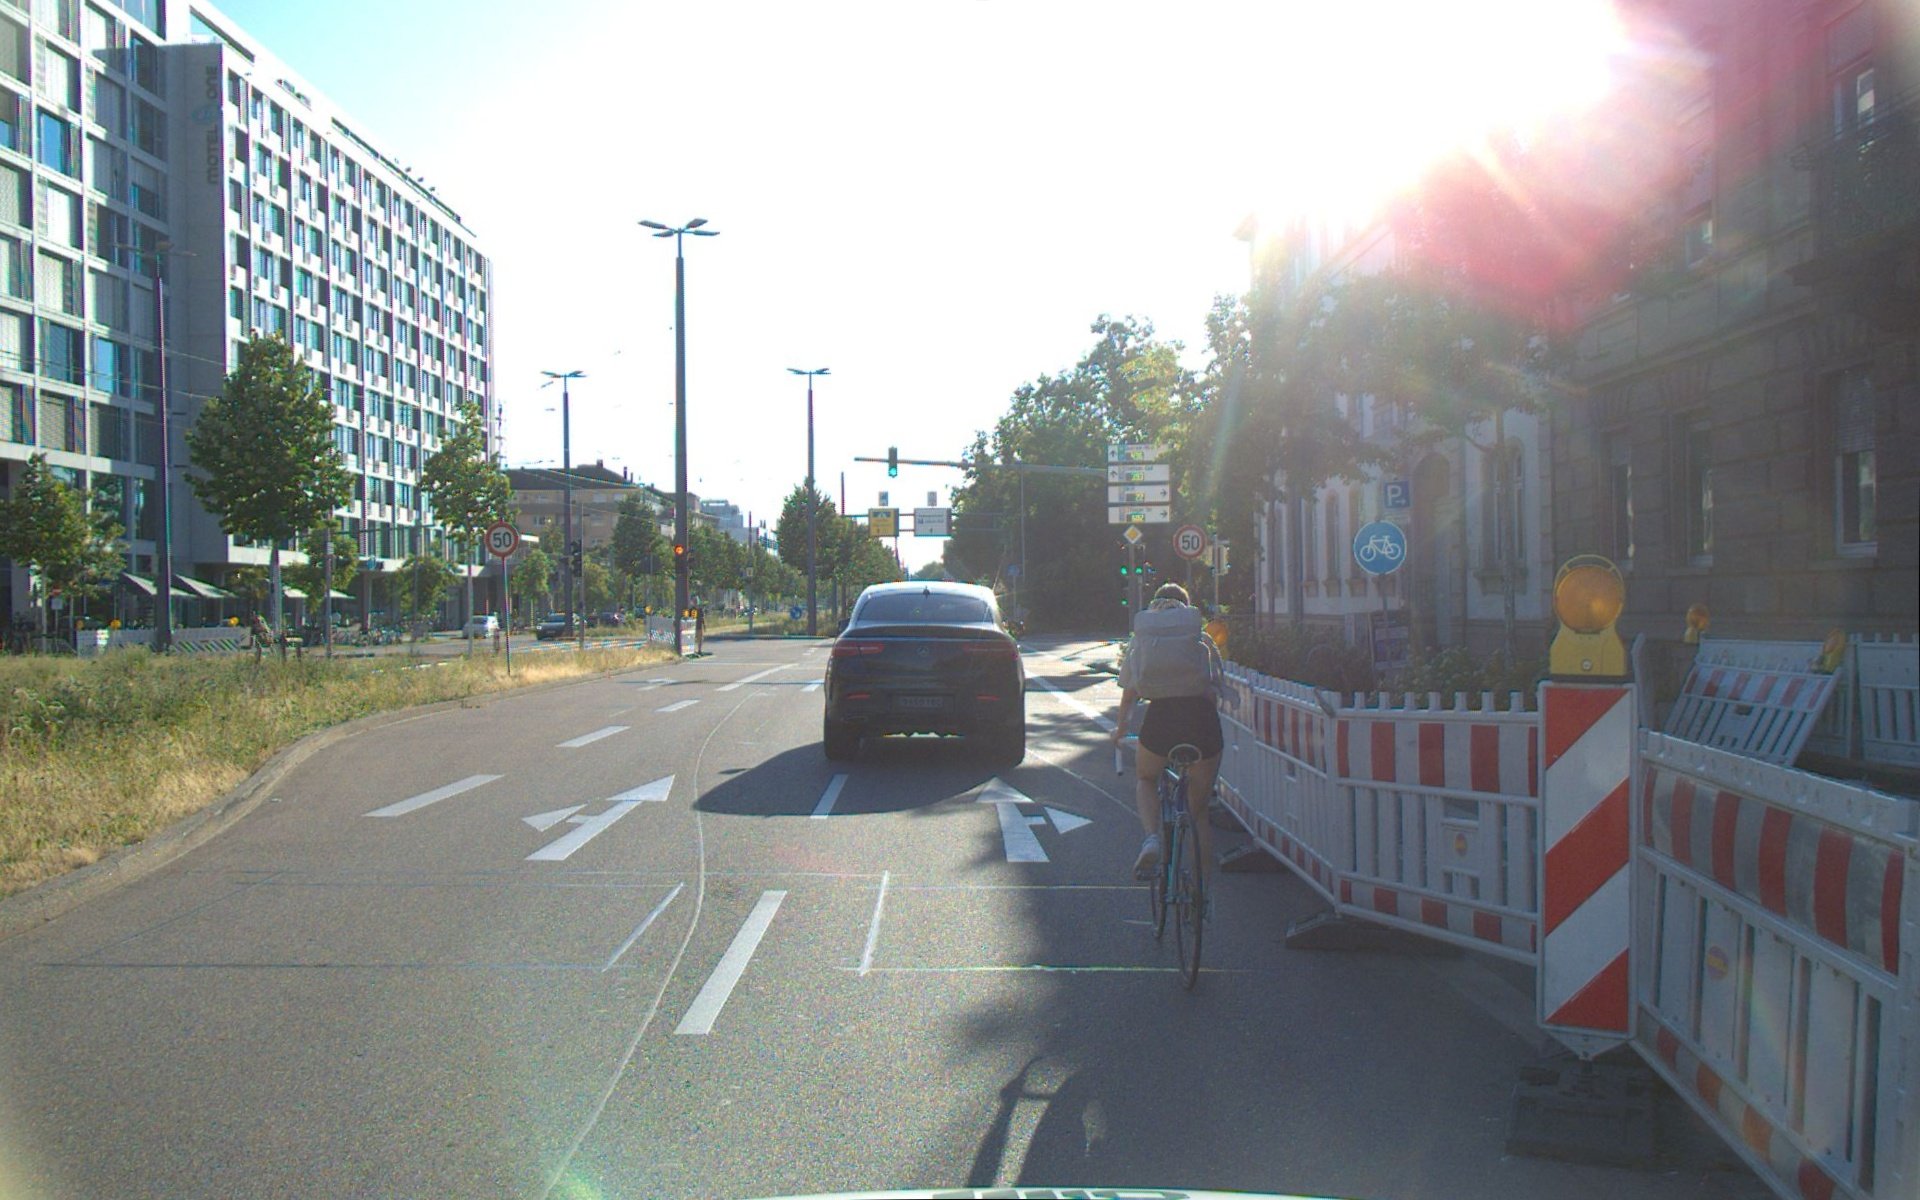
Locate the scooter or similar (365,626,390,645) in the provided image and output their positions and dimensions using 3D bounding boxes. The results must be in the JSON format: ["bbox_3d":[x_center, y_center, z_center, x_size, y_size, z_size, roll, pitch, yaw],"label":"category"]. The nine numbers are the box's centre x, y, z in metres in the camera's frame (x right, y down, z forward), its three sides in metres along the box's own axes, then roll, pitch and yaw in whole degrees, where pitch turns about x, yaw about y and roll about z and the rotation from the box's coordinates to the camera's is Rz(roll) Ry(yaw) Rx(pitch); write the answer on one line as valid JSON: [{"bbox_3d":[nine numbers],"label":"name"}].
[{"bbox_3d":[-32.284,1.959,91.715,1.218,1.037,0.435,-1,0,0],"label":"scooter or similar"}]

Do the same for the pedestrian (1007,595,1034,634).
[{"bbox_3d":[2.907,0.719,79.829,0.850,1.833,0.896,-2,0,-35],"label":"pedestrian"}]

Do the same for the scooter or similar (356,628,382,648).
[{"bbox_3d":[-32.245,2.062,90.188,1.218,1.037,0.511,-1,0,0],"label":"scooter or similar"}]

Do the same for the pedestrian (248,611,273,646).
[{"bbox_3d":[-35.473,1.426,83.830,0.851,1.752,0.804,-1,0,9],"label":"pedestrian"}]

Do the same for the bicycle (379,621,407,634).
[{"bbox_3d":[-39.661,1.925,115.753,1.770,0.921,0.511,-1,-1,-7],"label":"bicycle"}]

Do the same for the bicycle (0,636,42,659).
[{"bbox_3d":[-40.102,2.021,70.593,0.606,0.952,2.216,-1,0,-1],"label":"bicycle"}]

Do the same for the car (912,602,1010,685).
[{"bbox_3d":[-0.027,0.827,33.444,1.858,1.554,4.058,0,0,-1],"label":"car"}]

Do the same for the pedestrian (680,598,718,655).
[{"bbox_3d":[-7.834,0.781,49.617,0.904,1.678,0.766,-1,-1,11],"label":"pedestrian"}]

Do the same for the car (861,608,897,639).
[{"bbox_3d":[-4.431,1.273,90.576,1.847,1.608,3.999,0,0,-1],"label":"car"}]

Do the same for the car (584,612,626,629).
[{"bbox_3d":[-33.183,1.934,154.597,3.594,1.550,1.596,2,-1,-42],"label":"car"}]

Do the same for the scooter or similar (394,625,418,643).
[{"bbox_3d":[-32.246,1.978,96.260,1.218,1.037,0.435,-1,0,0],"label":"scooter or similar"}]

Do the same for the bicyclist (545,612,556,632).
[{"bbox_3d":[-30.090,1.628,121.552,0.612,1.490,0.851,-1,-1,0],"label":"bicyclist"}]

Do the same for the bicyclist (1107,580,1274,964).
[{"bbox_3d":[0.964,0.681,7.108,0.541,1.517,1.081,-1,0,-1],"label":"bicyclist"}]

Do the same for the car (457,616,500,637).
[{"bbox_3d":[-32.444,1.785,111.568,1.721,1.351,4.000,1,0,0],"label":"car"}]

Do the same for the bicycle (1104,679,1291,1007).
[{"bbox_3d":[0.962,0.946,7.066,0.510,1.116,1.842,-1,0,0],"label":"bicycle"}]

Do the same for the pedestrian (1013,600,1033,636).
[{"bbox_3d":[3.009,0.865,78.943,0.752,1.665,0.768,-3,0,-10],"label":"pedestrian"}]

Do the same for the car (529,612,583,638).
[{"bbox_3d":[-22.104,1.343,90.630,1.853,1.367,4.849,-1,0,-1],"label":"car"}]

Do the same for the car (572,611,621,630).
[{"bbox_3d":[-33.169,1.897,151.064,4.060,1.629,1.724,2,0,-42],"label":"car"}]

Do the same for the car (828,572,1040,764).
[{"bbox_3d":[-0.328,0.616,17.248,1.954,1.765,3.998,0,0,-3],"label":"car"}]

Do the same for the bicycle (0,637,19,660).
[{"bbox_3d":[-40.950,2.069,70.572,0.524,0.952,1.900,-1,0,-1],"label":"bicycle"}]
